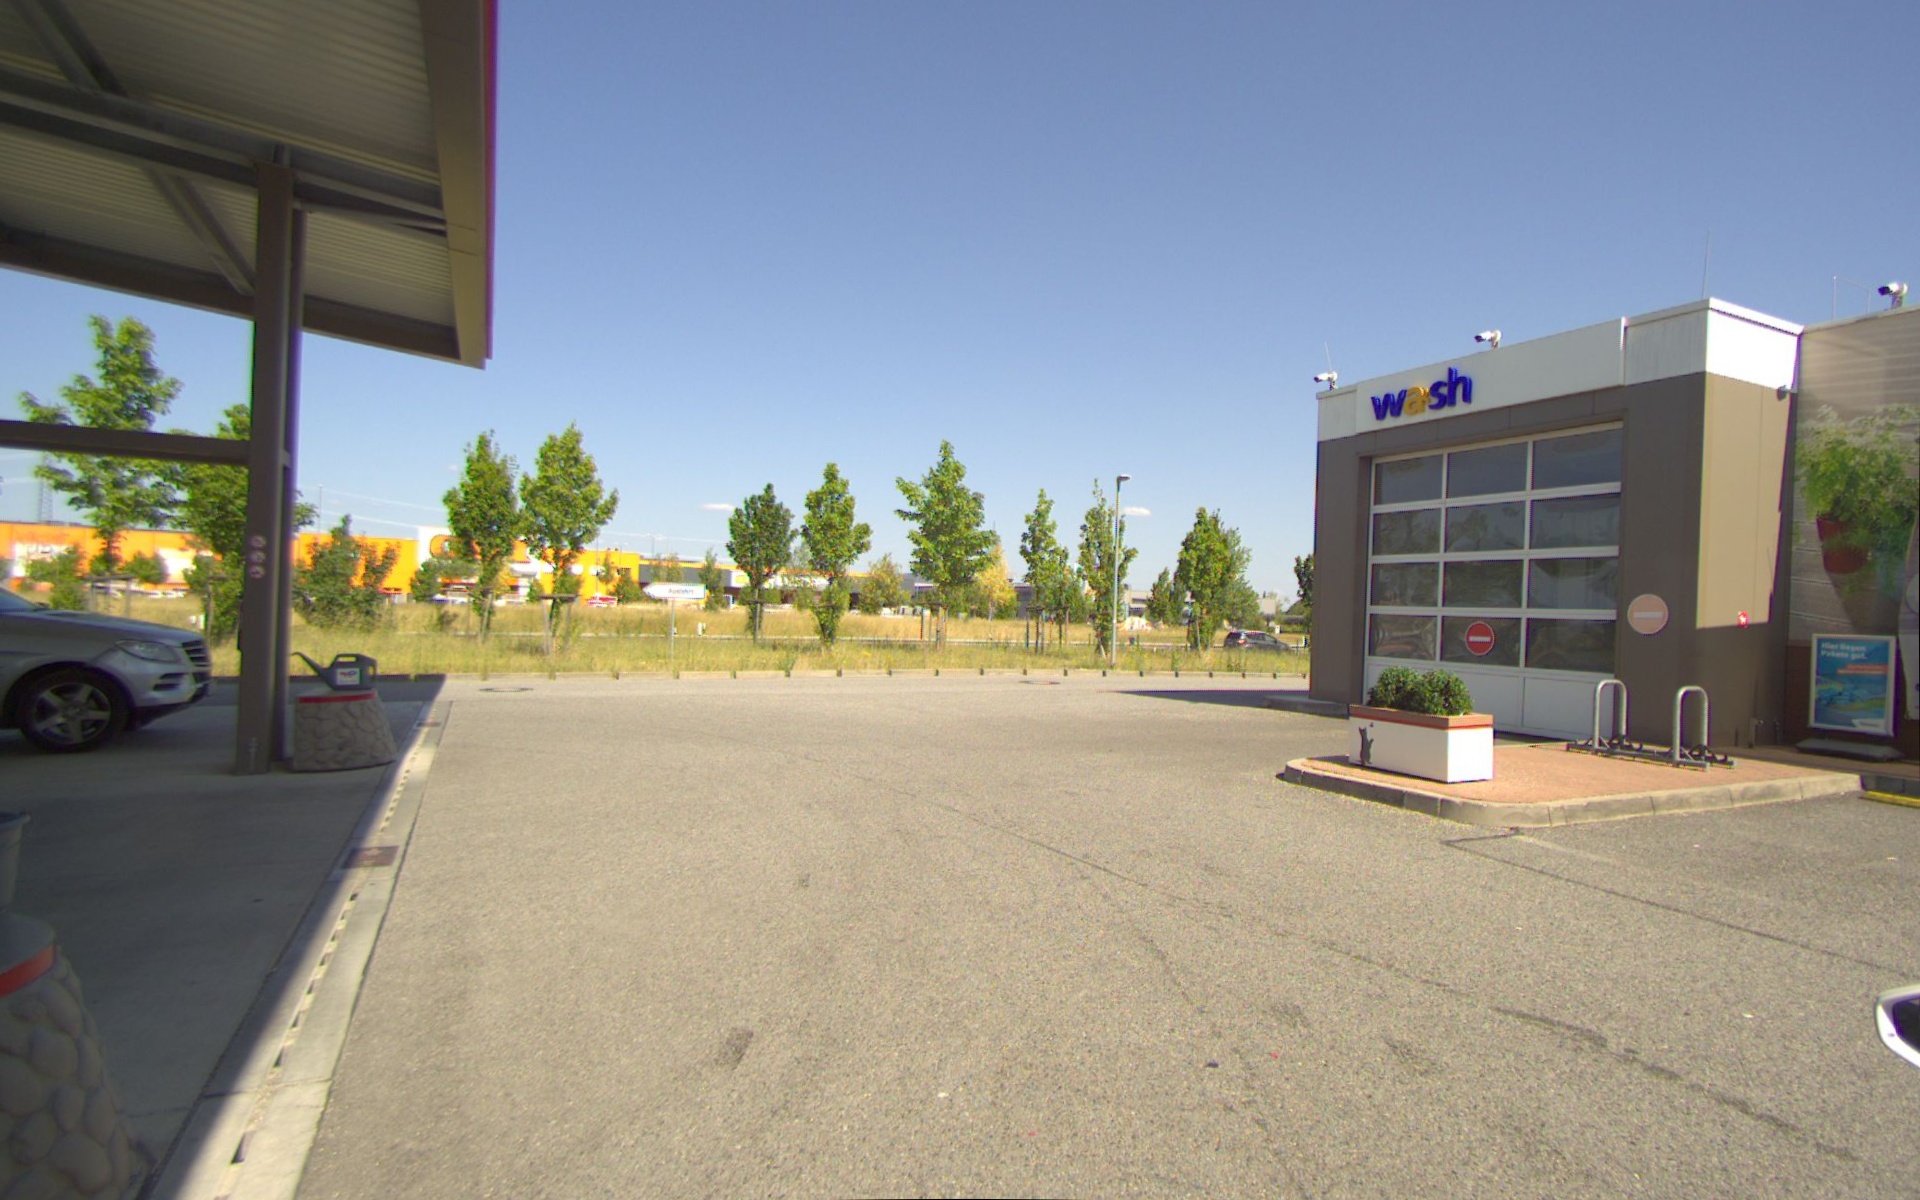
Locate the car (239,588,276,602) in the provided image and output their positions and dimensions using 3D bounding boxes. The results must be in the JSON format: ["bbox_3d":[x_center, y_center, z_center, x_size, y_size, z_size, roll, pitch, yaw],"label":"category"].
[{"bbox_3d":[-73.478,-0.503,105.076,2.905,1.316,1.477,2,-1,-24],"label":"car"}]

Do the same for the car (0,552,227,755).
[{"bbox_3d":[-9.318,0.421,8.770,4.482,1.710,1.851,2,0,-30],"label":"car"}]

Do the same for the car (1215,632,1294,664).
[{"bbox_3d":[17.561,2.866,59.925,4.521,1.774,1.778,2,0,-27],"label":"car"}]
